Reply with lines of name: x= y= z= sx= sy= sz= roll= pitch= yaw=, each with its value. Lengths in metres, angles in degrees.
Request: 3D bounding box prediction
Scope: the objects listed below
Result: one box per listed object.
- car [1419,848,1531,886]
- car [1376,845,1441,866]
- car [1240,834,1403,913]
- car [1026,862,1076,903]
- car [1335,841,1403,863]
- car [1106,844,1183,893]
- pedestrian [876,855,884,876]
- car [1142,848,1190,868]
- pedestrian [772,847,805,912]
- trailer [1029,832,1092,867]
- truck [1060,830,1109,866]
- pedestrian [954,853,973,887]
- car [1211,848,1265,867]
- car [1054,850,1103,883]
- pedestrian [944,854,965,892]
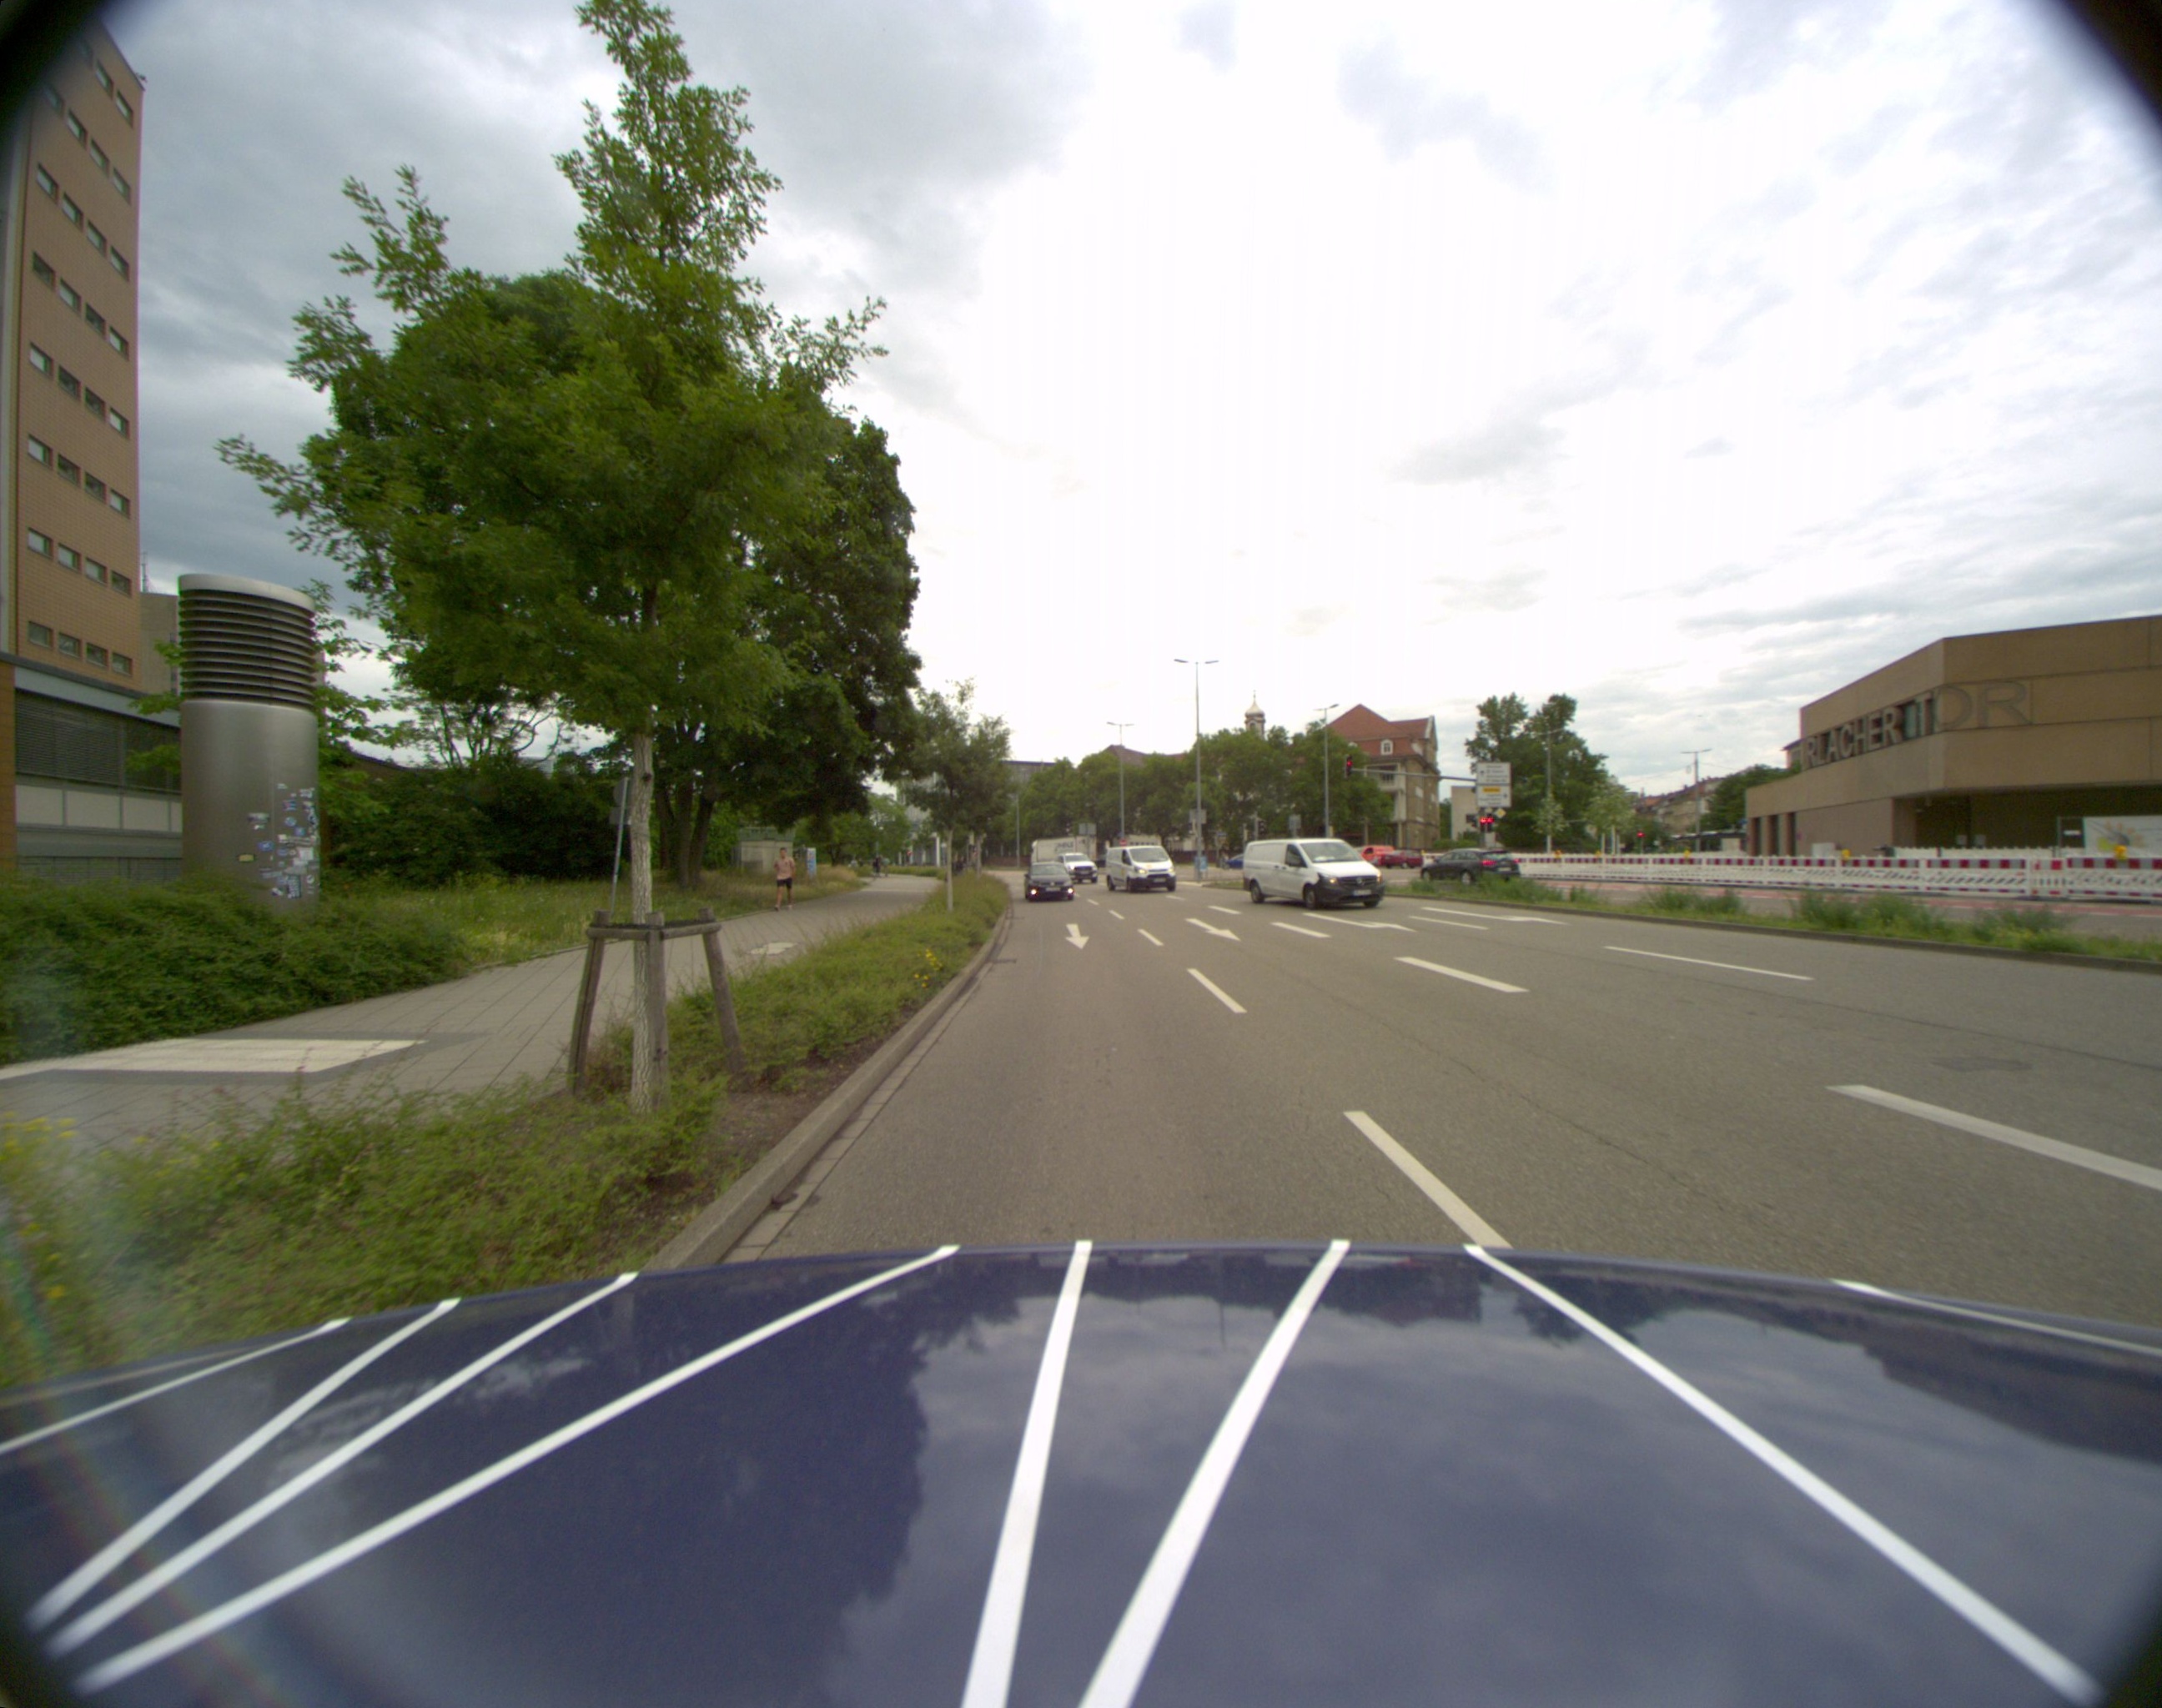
car: x=15.651 y=0.485 z=30.433 sx=2.000 sy=1.390 sz=3.997 roll=-1 pitch=0 yaw=-8
car: x=24.773 y=0.113 z=57.538 sx=4.350 sy=1.531 sz=1.910 roll=-1 pitch=0 yaw=-17
car: x=6.491 y=0.487 z=21.265 sx=1.924 sy=1.871 sz=5.083 roll=-3 pitch=0 yaw=-14
car: x=-1.213 y=1.028 z=29.027 sx=1.656 sy=1.404 sz=3.998 roll=-1 pitch=0 yaw=-5
car: x=23.773 y=-0.162 z=62.715 sx=5.248 sy=1.707 sz=1.910 roll=-1 pitch=0 yaw=-20
car: x=2.662 y=0.600 z=32.994 sx=2.001 sy=1.930 sz=4.518 roll=-1 pitch=0 yaw=-13
pedestrian: x=-16.812 y=0.970 z=63.560 sx=0.598 sy=1.790 sz=0.518 roll=2 pitch=0 yaw=-20
car: x=8.009 y=0.384 z=71.582 sx=3.989 sy=1.718 sz=2.004 roll=-2 pitch=0 yaw=32
pedestrian: x=-8.236 y=0.722 z=21.418 sx=0.630 sy=1.790 sz=0.597 roll=2 pitch=0 yaw=-1
trailer: x=-2.845 y=-0.460 z=96.762 sx=2.951 sy=3.990 sz=13.785 roll=-2 pitch=0 yaw=-23
truck: x=0.328 y=-0.623 z=89.477 sx=2.917 sy=4.001 sz=7.148 roll=-2 pitch=0 yaw=-23
pedestrian: x=-6.190 y=0.847 z=40.043 sx=0.723 sy=1.790 sz=0.596 roll=2 pitch=1 yaw=-44
car: x=14.068 y=0.309 z=68.040 sx=4.347 sy=1.531 sz=1.911 roll=-1 pitch=0 yaw=-11
car: x=-0.206 y=0.702 z=45.302 sx=2.091 sy=1.838 sz=4.747 roll=-1 pitch=0 yaw=-10
pedestrian: x=-6.140 y=0.924 z=36.886 sx=0.723 sy=1.790 sz=0.596 roll=2 pitch=1 yaw=-44
